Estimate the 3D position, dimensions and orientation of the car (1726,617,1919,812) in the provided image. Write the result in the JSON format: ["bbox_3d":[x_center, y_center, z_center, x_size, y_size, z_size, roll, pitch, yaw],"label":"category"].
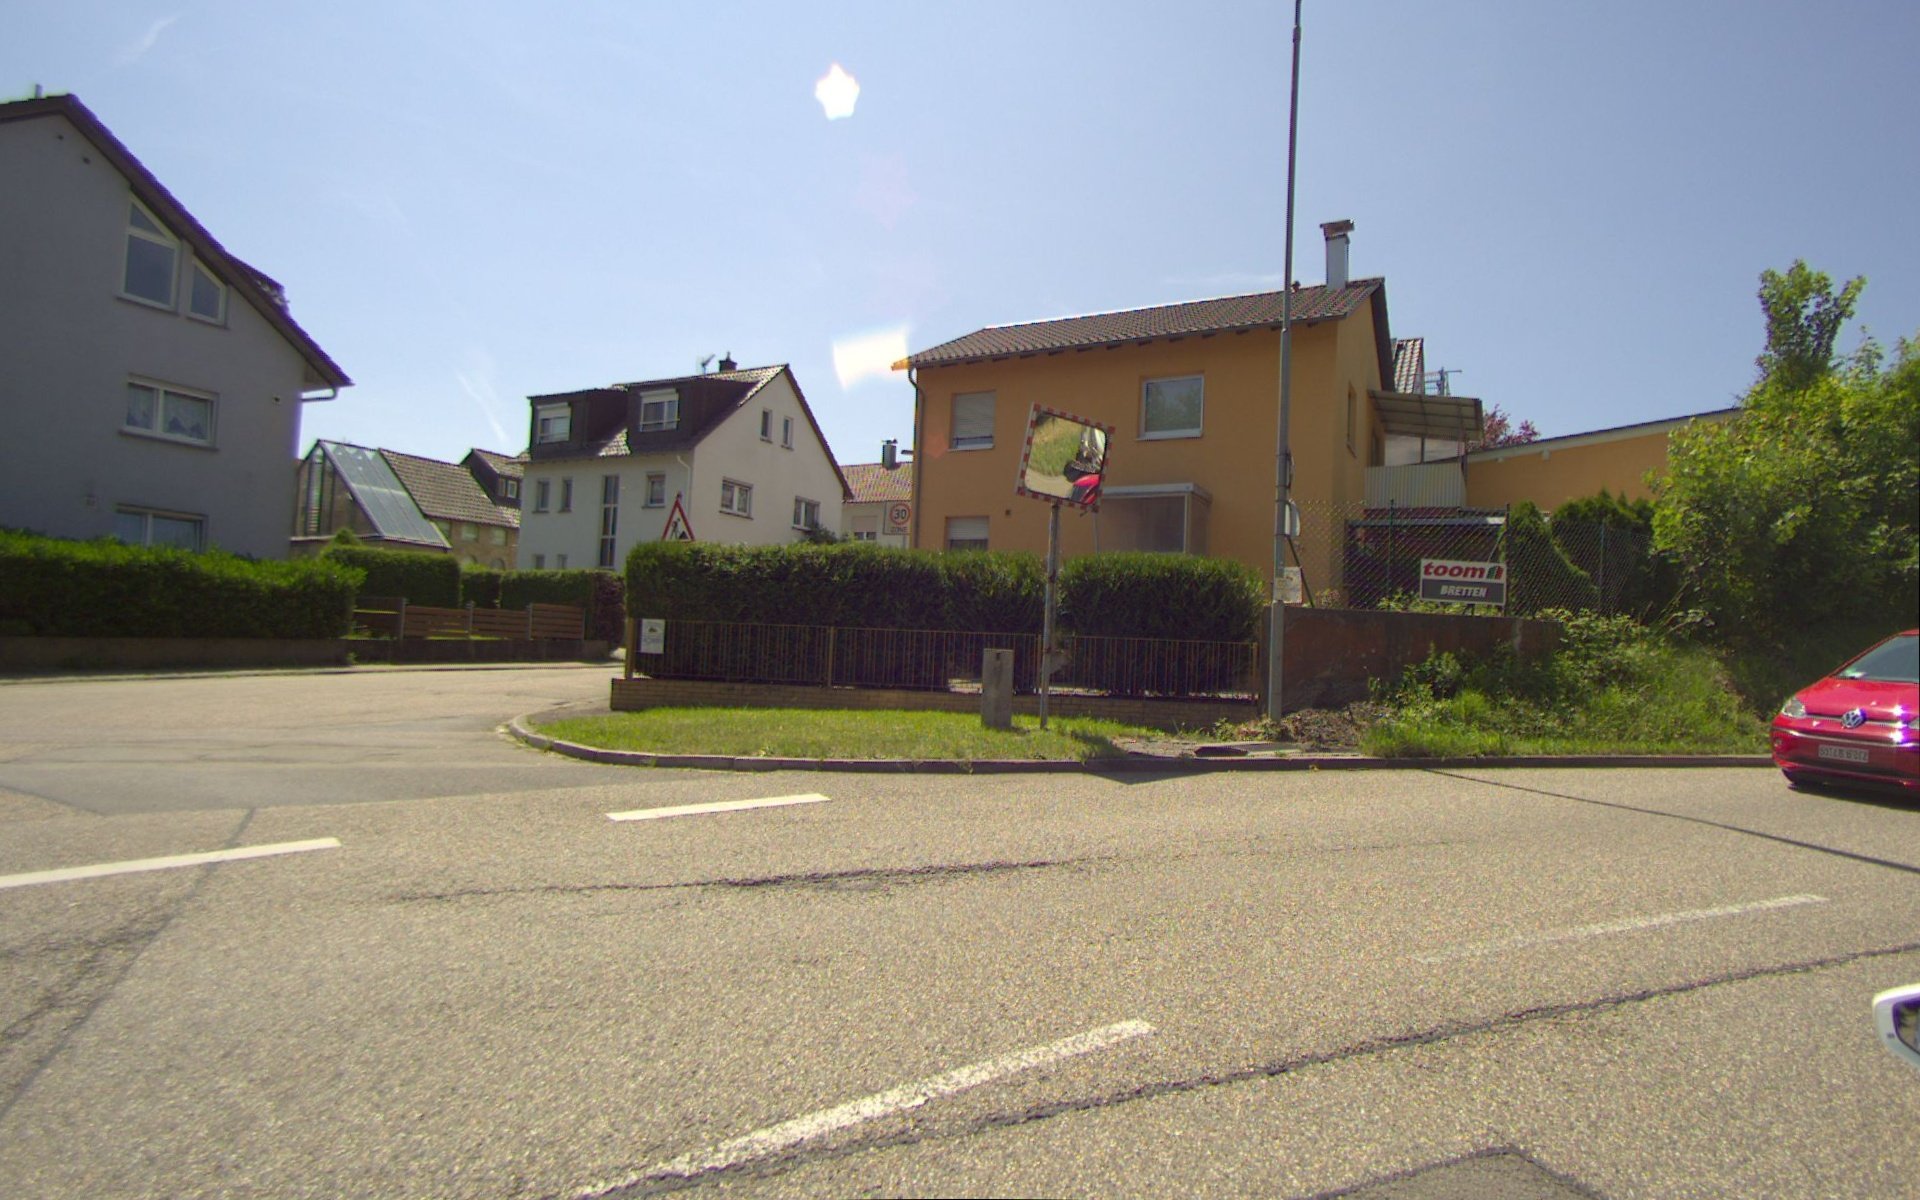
[{"bbox_3d":[8.891,0.921,8.763,3.575,1.477,1.656,1,-1,-14],"label":"car"}]
